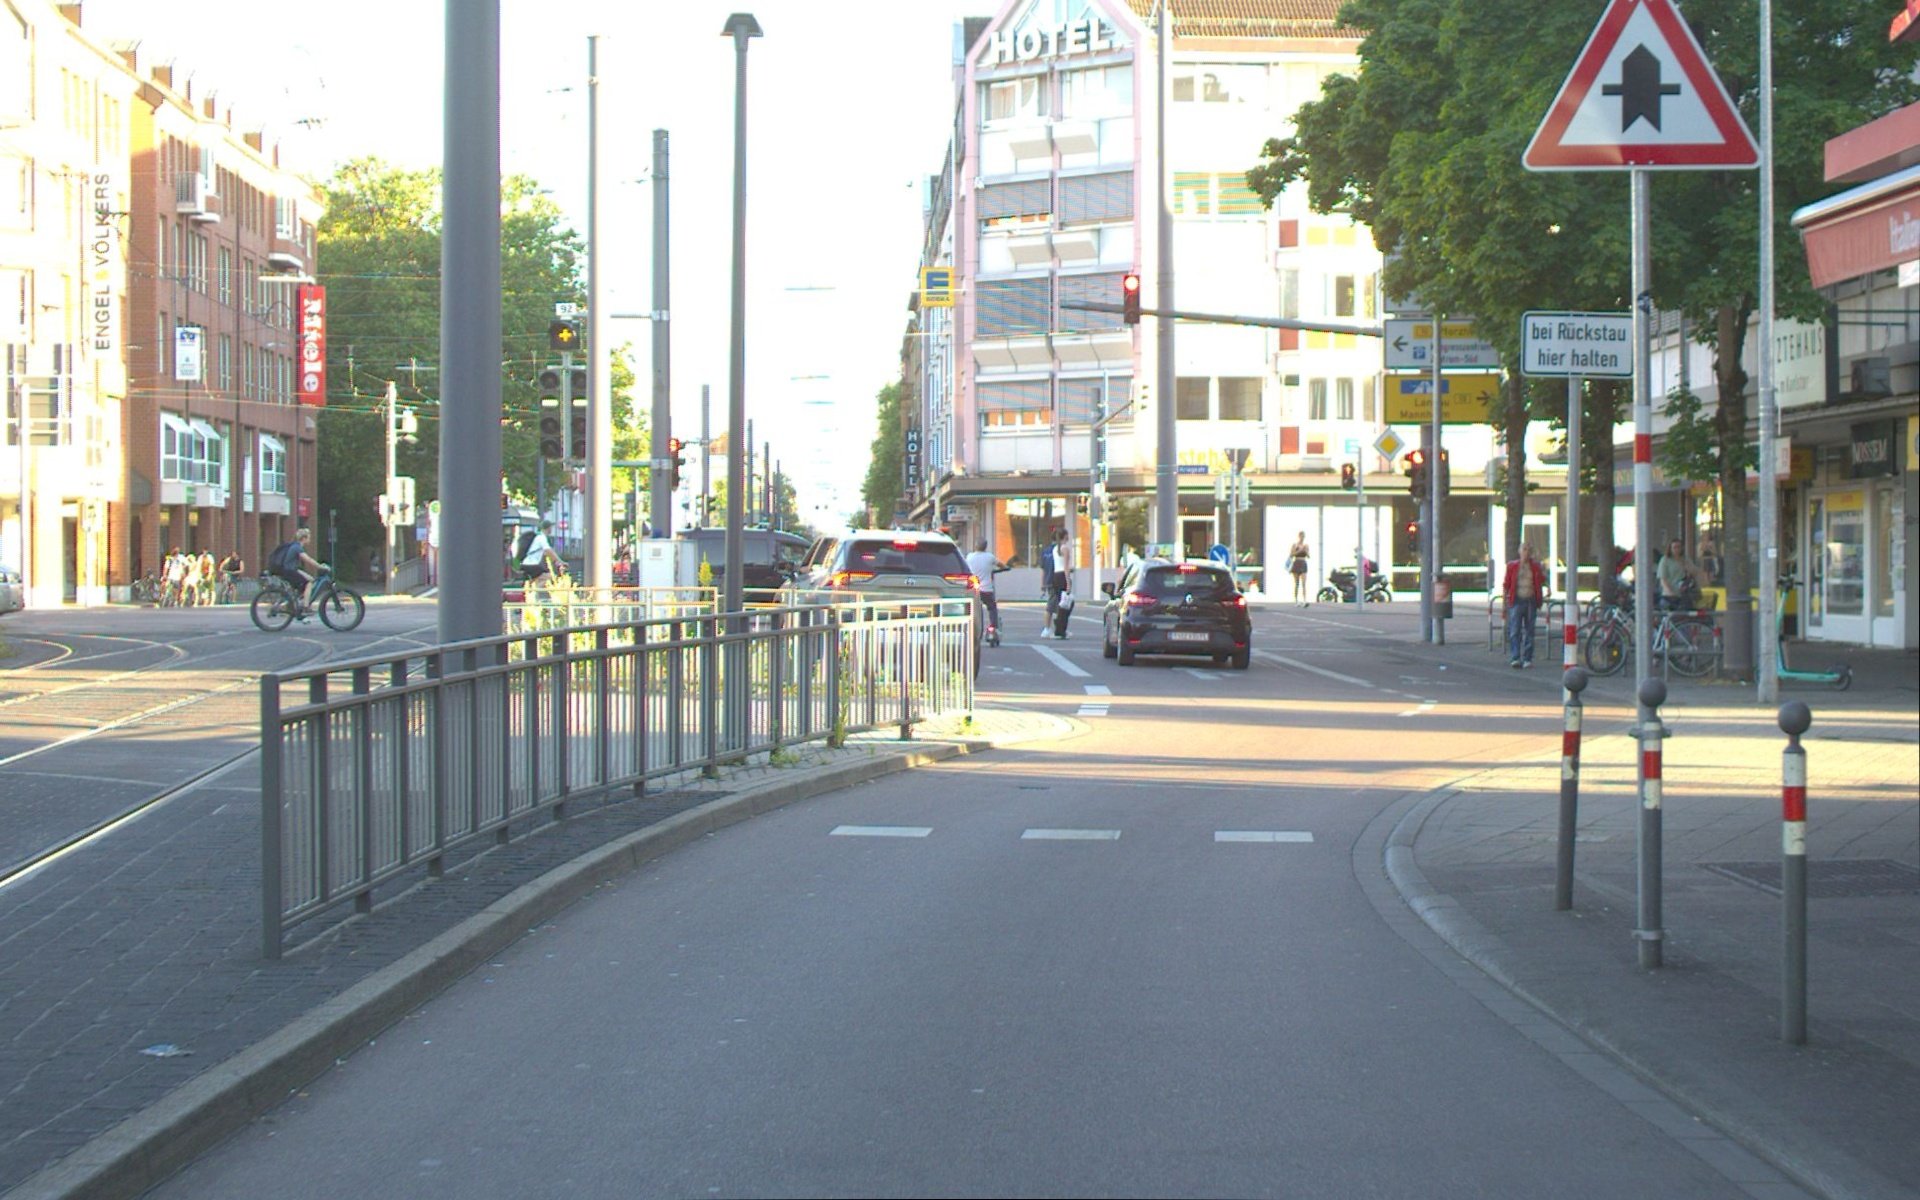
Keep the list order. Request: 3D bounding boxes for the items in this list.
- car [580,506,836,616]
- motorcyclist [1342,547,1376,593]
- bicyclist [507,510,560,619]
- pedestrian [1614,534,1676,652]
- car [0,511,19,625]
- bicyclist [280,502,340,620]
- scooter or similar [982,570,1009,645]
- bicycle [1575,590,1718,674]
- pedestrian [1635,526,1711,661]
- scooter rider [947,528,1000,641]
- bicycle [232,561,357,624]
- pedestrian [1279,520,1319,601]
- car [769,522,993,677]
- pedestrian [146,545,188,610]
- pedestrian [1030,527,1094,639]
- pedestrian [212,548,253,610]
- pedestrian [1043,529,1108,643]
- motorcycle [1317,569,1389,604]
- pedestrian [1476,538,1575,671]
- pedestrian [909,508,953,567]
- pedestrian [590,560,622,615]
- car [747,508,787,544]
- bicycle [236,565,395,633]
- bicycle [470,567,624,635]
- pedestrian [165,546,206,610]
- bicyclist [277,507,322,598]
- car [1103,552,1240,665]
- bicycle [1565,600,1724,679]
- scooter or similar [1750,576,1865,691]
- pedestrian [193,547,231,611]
[{"bbox_3d":[-4.786,-0.746,65.003,4.558,2.030,2.001,0,1,-14],"label":"car"},{"bbox_3d":[10.742,-0.802,92.625,0.703,1.216,0.789,2,0,-8],"label":"motorcyclist"},{"bbox_3d":[-7.461,-0.616,60.130,0.860,1.871,0.647,2,0,-8],"label":"bicyclist"},{"bbox_3d":[10.443,-0.109,52.427,0.746,1.772,0.800,2,0,1],"label":"pedestrian"},{"bbox_3d":[-19.135,-0.570,60.957,4.682,2.007,2.001,0,1,-16],"label":"car"},{"bbox_3d":[-11.211,-0.675,59.282,0.860,2.007,0.647,2,0,-21],"label":"bicyclist"},{"bbox_3d":[0.525,0.105,51.205,0.279,1.087,1.257,2,0,5],"label":"scooter or similar"},{"bbox_3d":[8.448,0.389,42.337,1.658,0.971,0.386,2,0,5],"label":"bicycle"},{"bbox_3d":[9.543,-0.086,46.031,0.746,1.772,0.973,2,0,0],"label":"pedestrian"},{"bbox_3d":[0.206,-0.226,51.083,0.662,1.641,0.661,2,0,7],"label":"scooter rider"},{"bbox_3d":[-11.306,-0.131,58.423,2.036,1.024,0.417,1,0,-7],"label":"bicycle"},{"bbox_3d":[7.481,-0.868,75.925,0.746,1.772,0.800,2,0,1],"label":"pedestrian"},{"bbox_3d":[-0.951,-0.032,38.697,1.834,1.630,4.092,1,1,-11],"label":"car"},{"bbox_3d":[-24.914,-0.707,108.019,1.093,2.007,0.909,2,0,-4],"label":"pedestrian"},{"bbox_3d":[1.693,-0.280,57.023,0.994,1.824,0.729,2,0,1],"label":"pedestrian"},{"bbox_3d":[-23.907,-0.685,113.003,1.093,2.007,1.163,2,0,-4],"label":"pedestrian"},{"bbox_3d":[1.883,-0.235,56.220,0.994,1.824,0.729,2,0,1],"label":"pedestrian"},{"bbox_3d":[10.590,-0.363,92.623,1.833,0.905,0.432,2,0,-6],"label":"motorcycle"},{"bbox_3d":[7.301,0.047,44.397,0.823,1.679,1.049,2,0,-18],"label":"pedestrian"},{"bbox_3d":[-0.859,-1.861,102.529,0.932,1.720,0.852,2,0,-43],"label":"pedestrian"},{"bbox_3d":[-10.900,-0.387,105.787,0.805,1.658,0.703,2,0,7],"label":"pedestrian"},{"bbox_3d":[-10.808,-4.135,192.726,1.993,1.894,4.000,2,0,-1],"label":"car"},{"bbox_3d":[-11.116,-0.020,59.342,2.639,1.096,0.435,2,0,-21],"label":"bicycle"},{"bbox_3d":[-7.233,0.016,60.190,2.639,1.096,0.435,2,0,-7],"label":"bicycle"},{"bbox_3d":[-24.753,-0.707,109.902,1.093,2.007,0.909,2,0,-4],"label":"pedestrian"},{"bbox_3d":[-11.226,-0.809,58.418,0.704,1.506,0.550,-2,1,-11],"label":"bicyclist"},{"bbox_3d":[2.830,0.080,46.283,1.764,1.435,4.000,0,1,3],"label":"car"},{"bbox_3d":[8.234,0.468,41.381,1.818,0.888,0.415,2,0,5],"label":"bicycle"},{"bbox_3d":[9.065,0.363,36.793,1.220,1.213,0.294,0,-2,44],"label":"scooter or similar"},{"bbox_3d":[-23.678,-0.665,108.826,0.976,2.007,0.909,2,0,-4],"label":"pedestrian"}]
